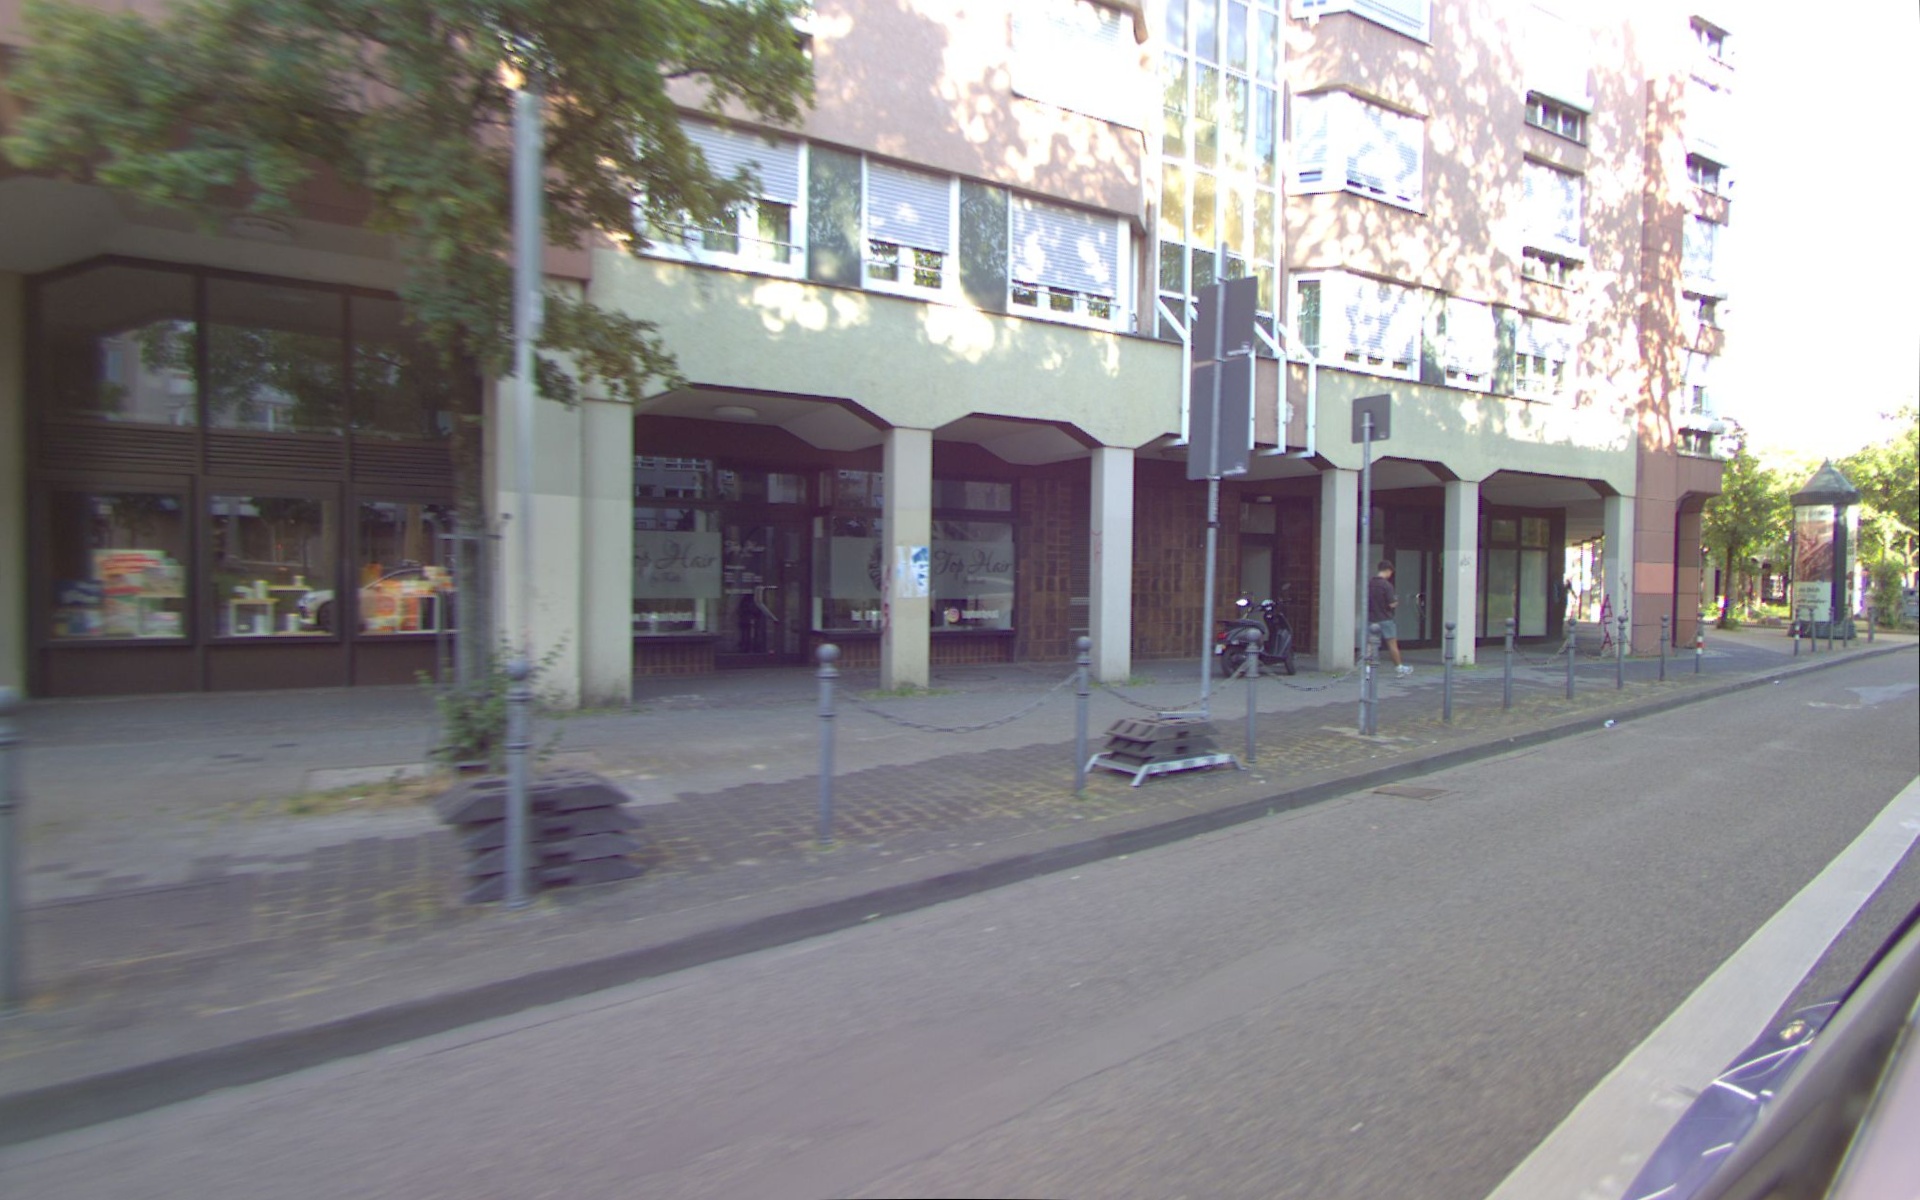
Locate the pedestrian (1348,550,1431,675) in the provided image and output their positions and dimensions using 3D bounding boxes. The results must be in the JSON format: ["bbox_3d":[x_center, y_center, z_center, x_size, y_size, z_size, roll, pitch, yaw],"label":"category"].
[{"bbox_3d":[6.287,0.169,14.824,0.820,1.760,0.784,0,1,-31],"label":"pedestrian"}]

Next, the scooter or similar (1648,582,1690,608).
[{"bbox_3d":[31.974,-0.229,45.664,0.548,1.160,1.460,0,1,-34],"label":"scooter or similar"}]

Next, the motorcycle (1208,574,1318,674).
[{"bbox_3d":[4.480,0.316,14.860,2.053,1.389,0.489,-1,1,-40],"label":"motorcycle"}]

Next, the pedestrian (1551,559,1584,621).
[{"bbox_3d":[20.050,-0.346,33.419,0.809,2.006,0.841,1,1,24],"label":"pedestrian"}]
